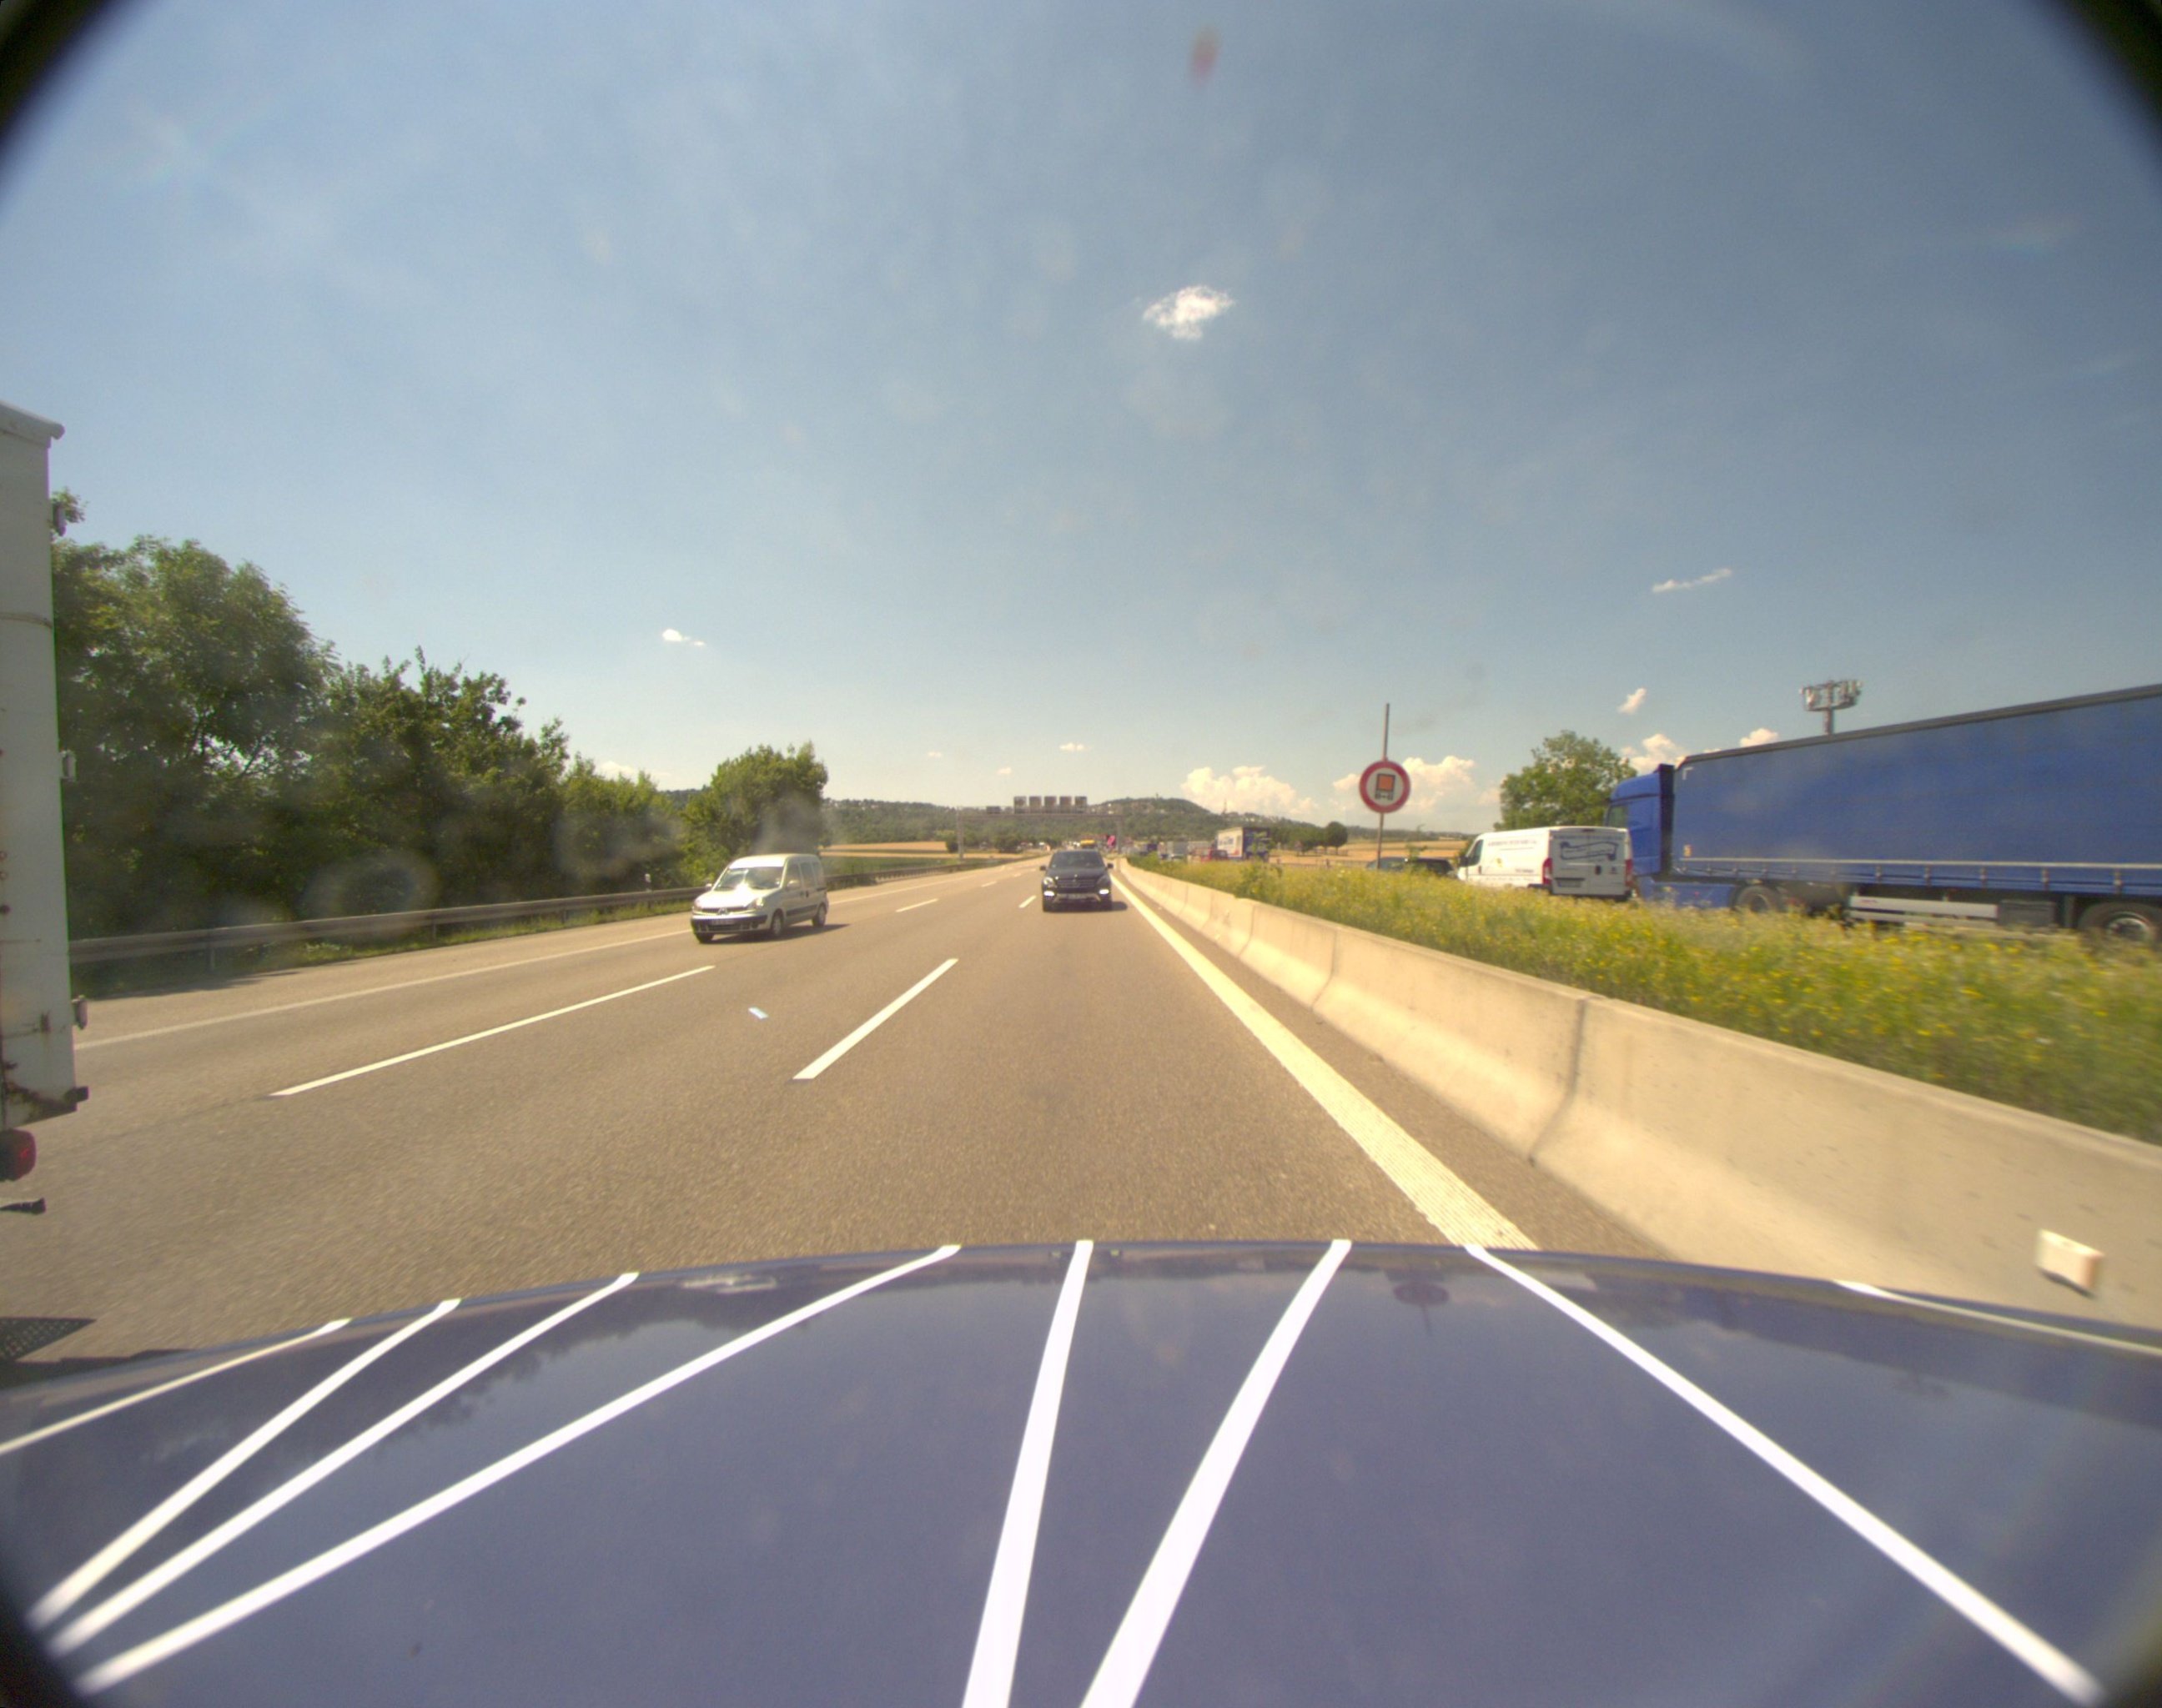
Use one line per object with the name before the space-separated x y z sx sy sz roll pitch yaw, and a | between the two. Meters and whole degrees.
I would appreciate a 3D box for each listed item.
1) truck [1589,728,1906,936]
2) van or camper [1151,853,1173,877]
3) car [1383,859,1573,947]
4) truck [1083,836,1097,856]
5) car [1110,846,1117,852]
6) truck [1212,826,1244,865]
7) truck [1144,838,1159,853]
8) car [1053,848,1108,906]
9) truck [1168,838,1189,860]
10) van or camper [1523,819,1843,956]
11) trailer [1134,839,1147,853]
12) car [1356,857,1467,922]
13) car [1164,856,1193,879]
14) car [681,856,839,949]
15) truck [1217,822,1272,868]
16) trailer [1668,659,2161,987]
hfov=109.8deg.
truck | 15.762 -0.471 18.640 2.872 4.325 5.586 0 1 1
van or camper | 9.288 1.217 87.336 2.153 2.613 4.397 0 1 0
car | 8.192 0.913 16.227 1.689 1.557 4.562 0 0 0
truck | 1.561 -1.388 128.640 2.272 3.139 8.185 -2 2 1
car | 10.106 -1.587 233.318 1.899 1.569 4.935 -2 2 0
truck | 16.525 -0.966 85.579 2.599 4.214 4.853 2 1 1
truck | 18.047 -2.143 194.416 2.983 3.587 9.993 0 0 0
car | 0.034 0.693 24.505 1.630 1.711 3.864 -1 0 1
truck | 17.010 -0.851 132.525 2.706 3.599 8.787 1 0 2
van or camper | 11.566 0.539 15.333 2.099 2.261 5.493 0 0 0
trailer | 18.509 -2.557 237.227 2.817 4.104 14.128 0 0 0
car | 8.135 0.817 18.966 1.388 1.460 3.195 0 0 0
car | 8.652 1.198 68.057 1.998 1.934 4.794 0 1 0
car | -6.828 0.943 16.663 1.630 1.727 3.972 -2 0 1
truck | 16.445 -0.871 77.797 2.599 4.214 14.121 2 1 1
trailer | 15.686 -0.415 11.631 2.890 4.325 13.641 0 0 0
